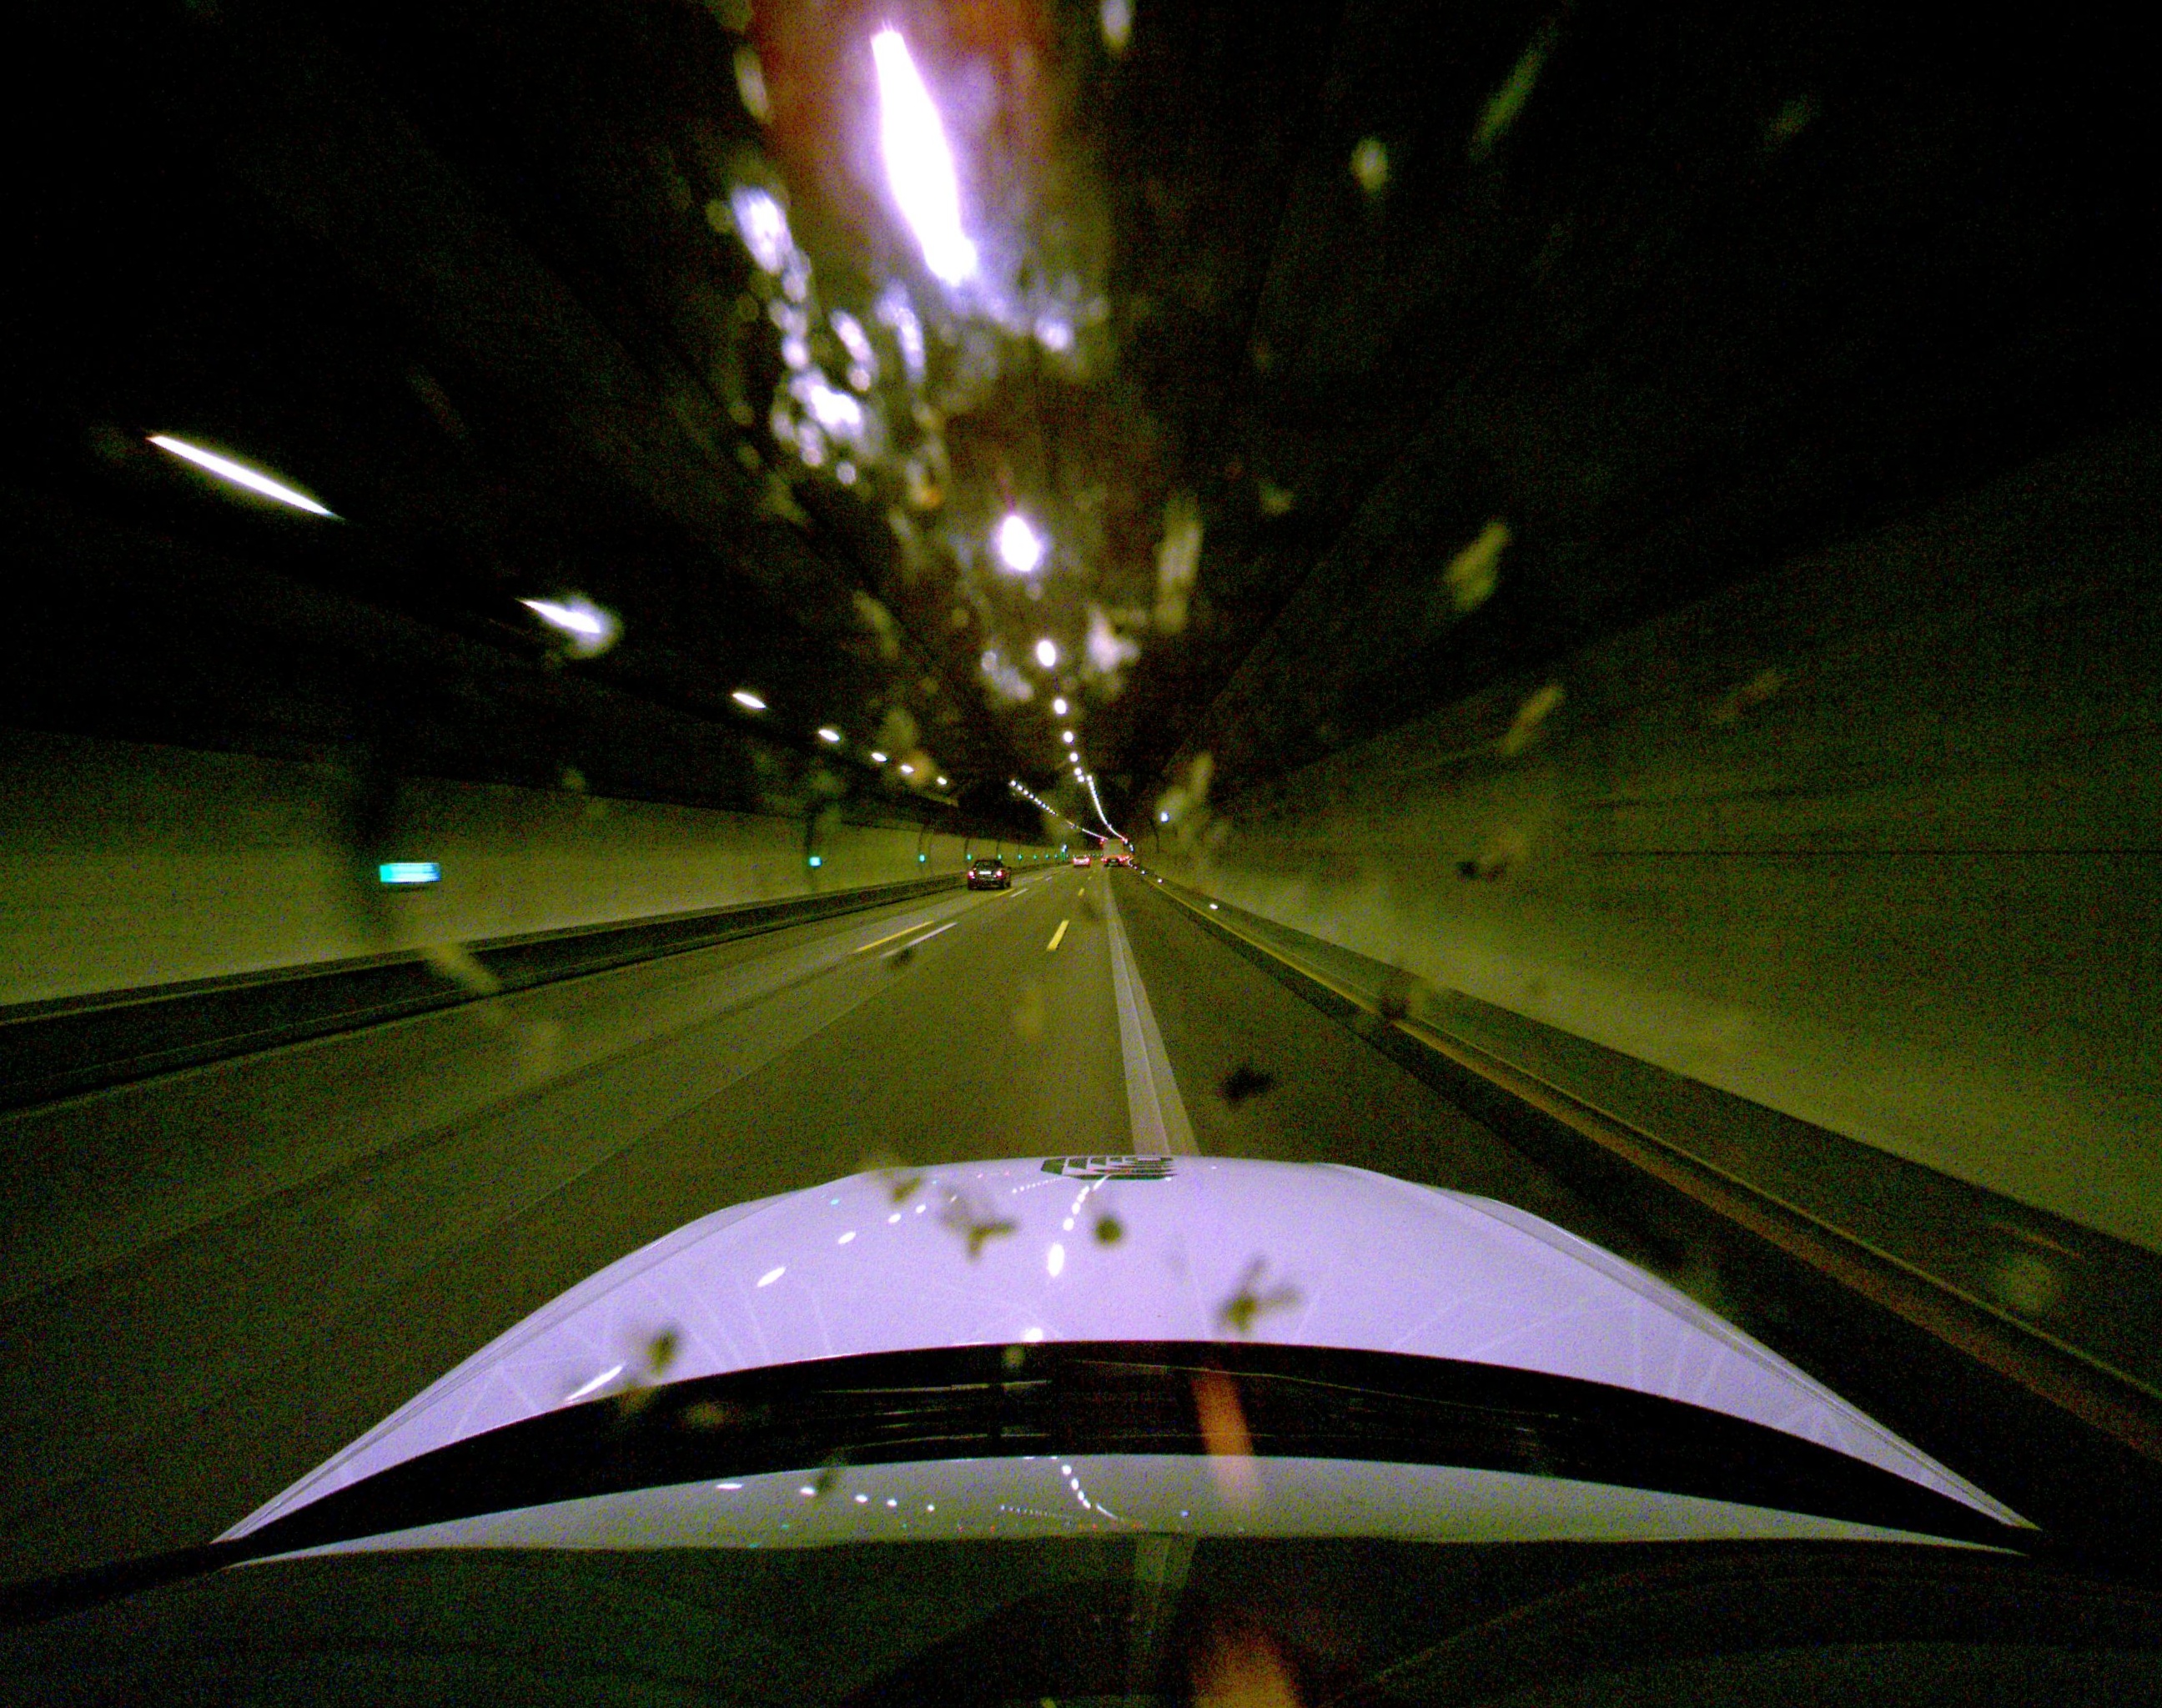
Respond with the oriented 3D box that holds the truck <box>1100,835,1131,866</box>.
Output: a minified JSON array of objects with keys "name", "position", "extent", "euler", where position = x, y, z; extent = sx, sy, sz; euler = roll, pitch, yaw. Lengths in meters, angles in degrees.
[{"name":"truck","position":[4.363,-0.481,103.527],"extent":[3.578,3.650,10.729],"euler":[-2,0,2]}]

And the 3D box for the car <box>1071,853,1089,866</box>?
[{"name":"car","position":[-0.125,0.584,91.820],"extent":[1.988,1.413,4.740],"euler":[-2,0,-1]}]

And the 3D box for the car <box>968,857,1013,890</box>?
[{"name":"car","position":[-4.196,0.875,38.143],"extent":[1.684,1.417,3.921],"euler":[-2,0,-1]}]
